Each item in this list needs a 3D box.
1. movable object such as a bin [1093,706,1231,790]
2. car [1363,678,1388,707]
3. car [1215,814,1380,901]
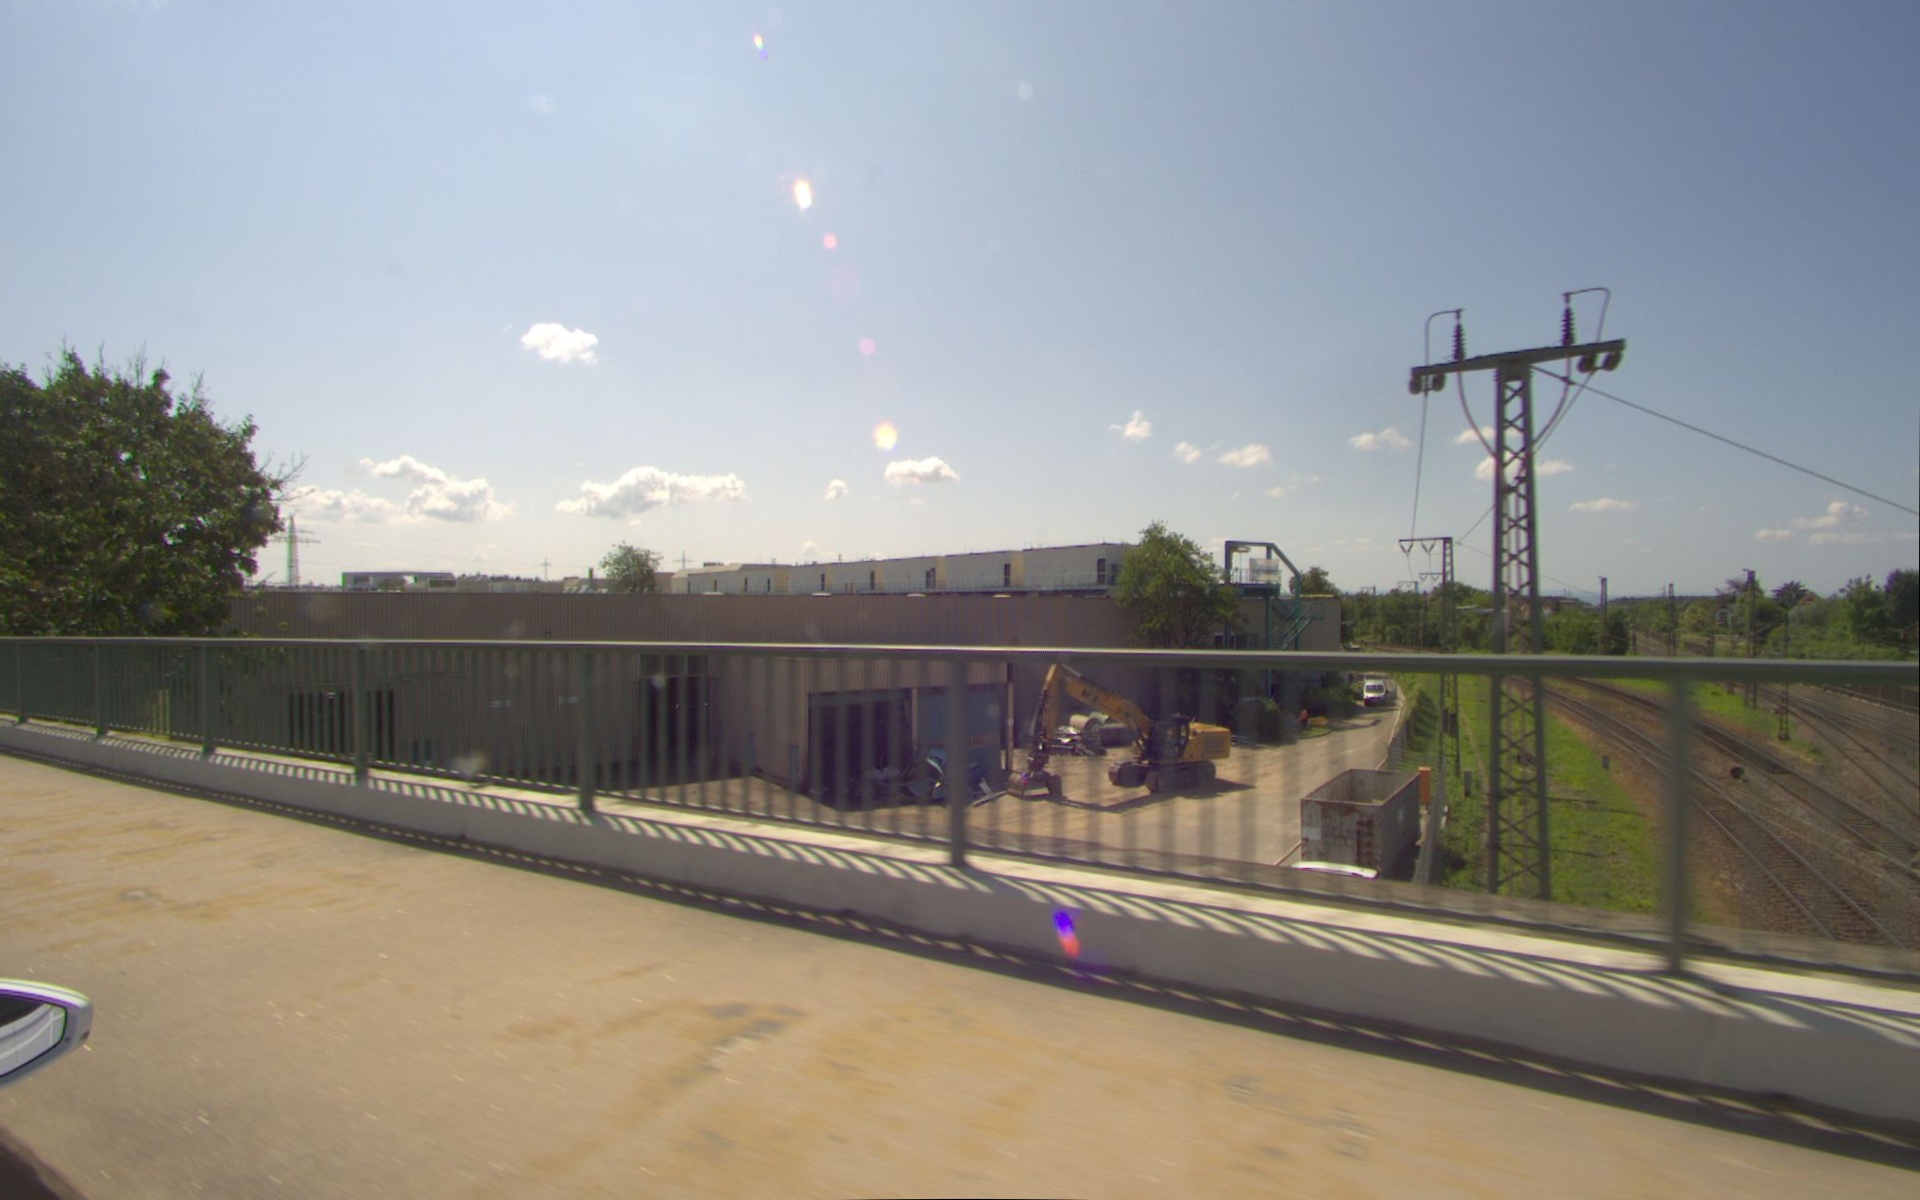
[{"bbox_3d":[10.083,7.250,49.892,6.139,3.335,3.227,1,1,-32],"label":"movable object such as a bin"},{"bbox_3d":[36.032,7.976,86.964,1.966,2.041,3.989,0,1,22],"label":"car"},{"bbox_3d":[9.773,7.389,29.049,4.183,1.614,1.992,1,-4,33],"label":"car"}]
